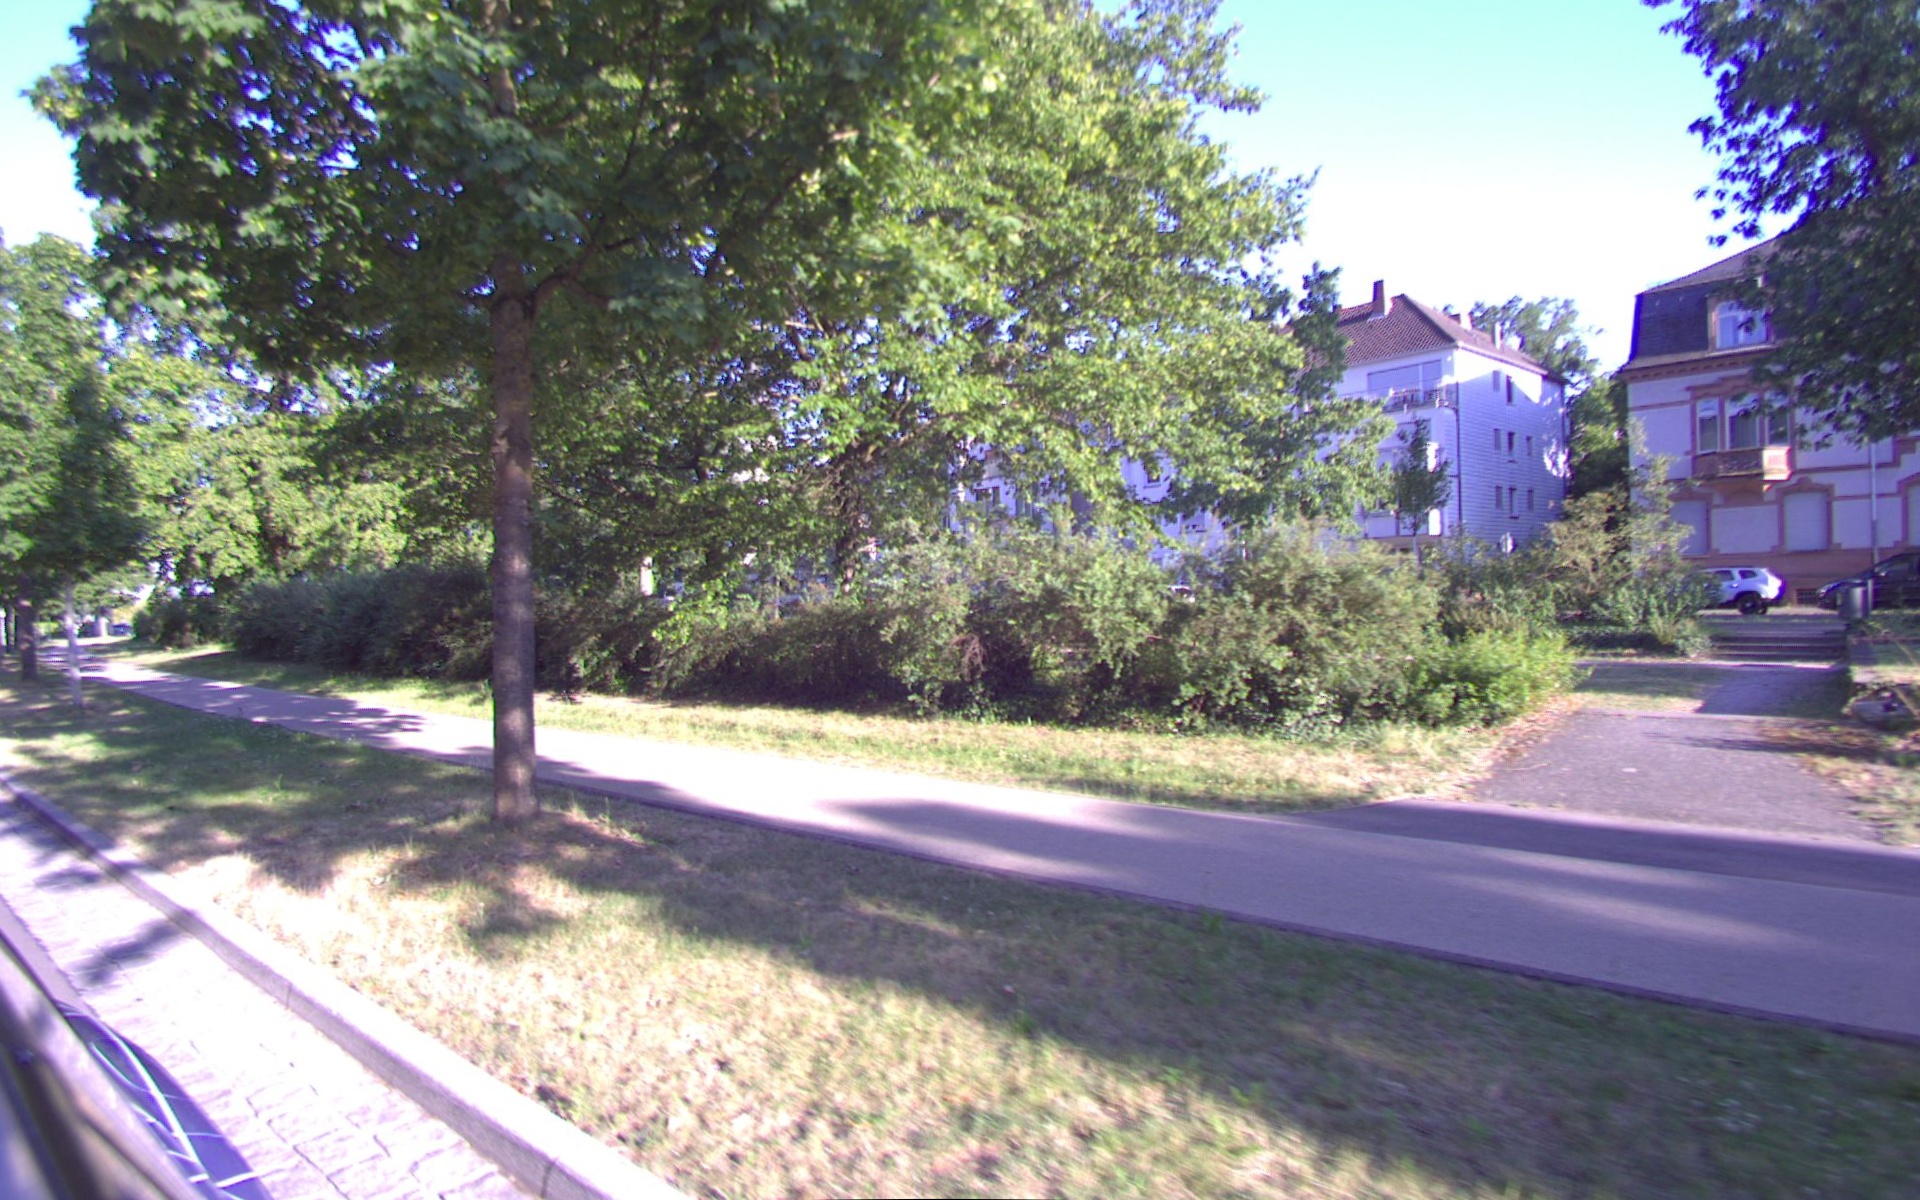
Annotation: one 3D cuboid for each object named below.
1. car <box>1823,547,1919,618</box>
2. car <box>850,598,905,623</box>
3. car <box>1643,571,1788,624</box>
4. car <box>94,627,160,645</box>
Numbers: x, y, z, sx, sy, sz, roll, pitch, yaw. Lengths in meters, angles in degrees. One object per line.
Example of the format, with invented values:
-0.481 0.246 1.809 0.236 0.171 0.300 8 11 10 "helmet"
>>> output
29.371 -0.567 30.527 4.957 2.107 1.403 -2 0 44 "car"
-5.878 0.755 71.834 1.906 1.593 4.226 -3 1 -37 "car"
25.614 -0.068 34.387 3.768 1.682 1.306 -2 0 44 "car"
-83.637 3.597 101.640 1.862 1.570 4.785 -2 0 32 "car"
